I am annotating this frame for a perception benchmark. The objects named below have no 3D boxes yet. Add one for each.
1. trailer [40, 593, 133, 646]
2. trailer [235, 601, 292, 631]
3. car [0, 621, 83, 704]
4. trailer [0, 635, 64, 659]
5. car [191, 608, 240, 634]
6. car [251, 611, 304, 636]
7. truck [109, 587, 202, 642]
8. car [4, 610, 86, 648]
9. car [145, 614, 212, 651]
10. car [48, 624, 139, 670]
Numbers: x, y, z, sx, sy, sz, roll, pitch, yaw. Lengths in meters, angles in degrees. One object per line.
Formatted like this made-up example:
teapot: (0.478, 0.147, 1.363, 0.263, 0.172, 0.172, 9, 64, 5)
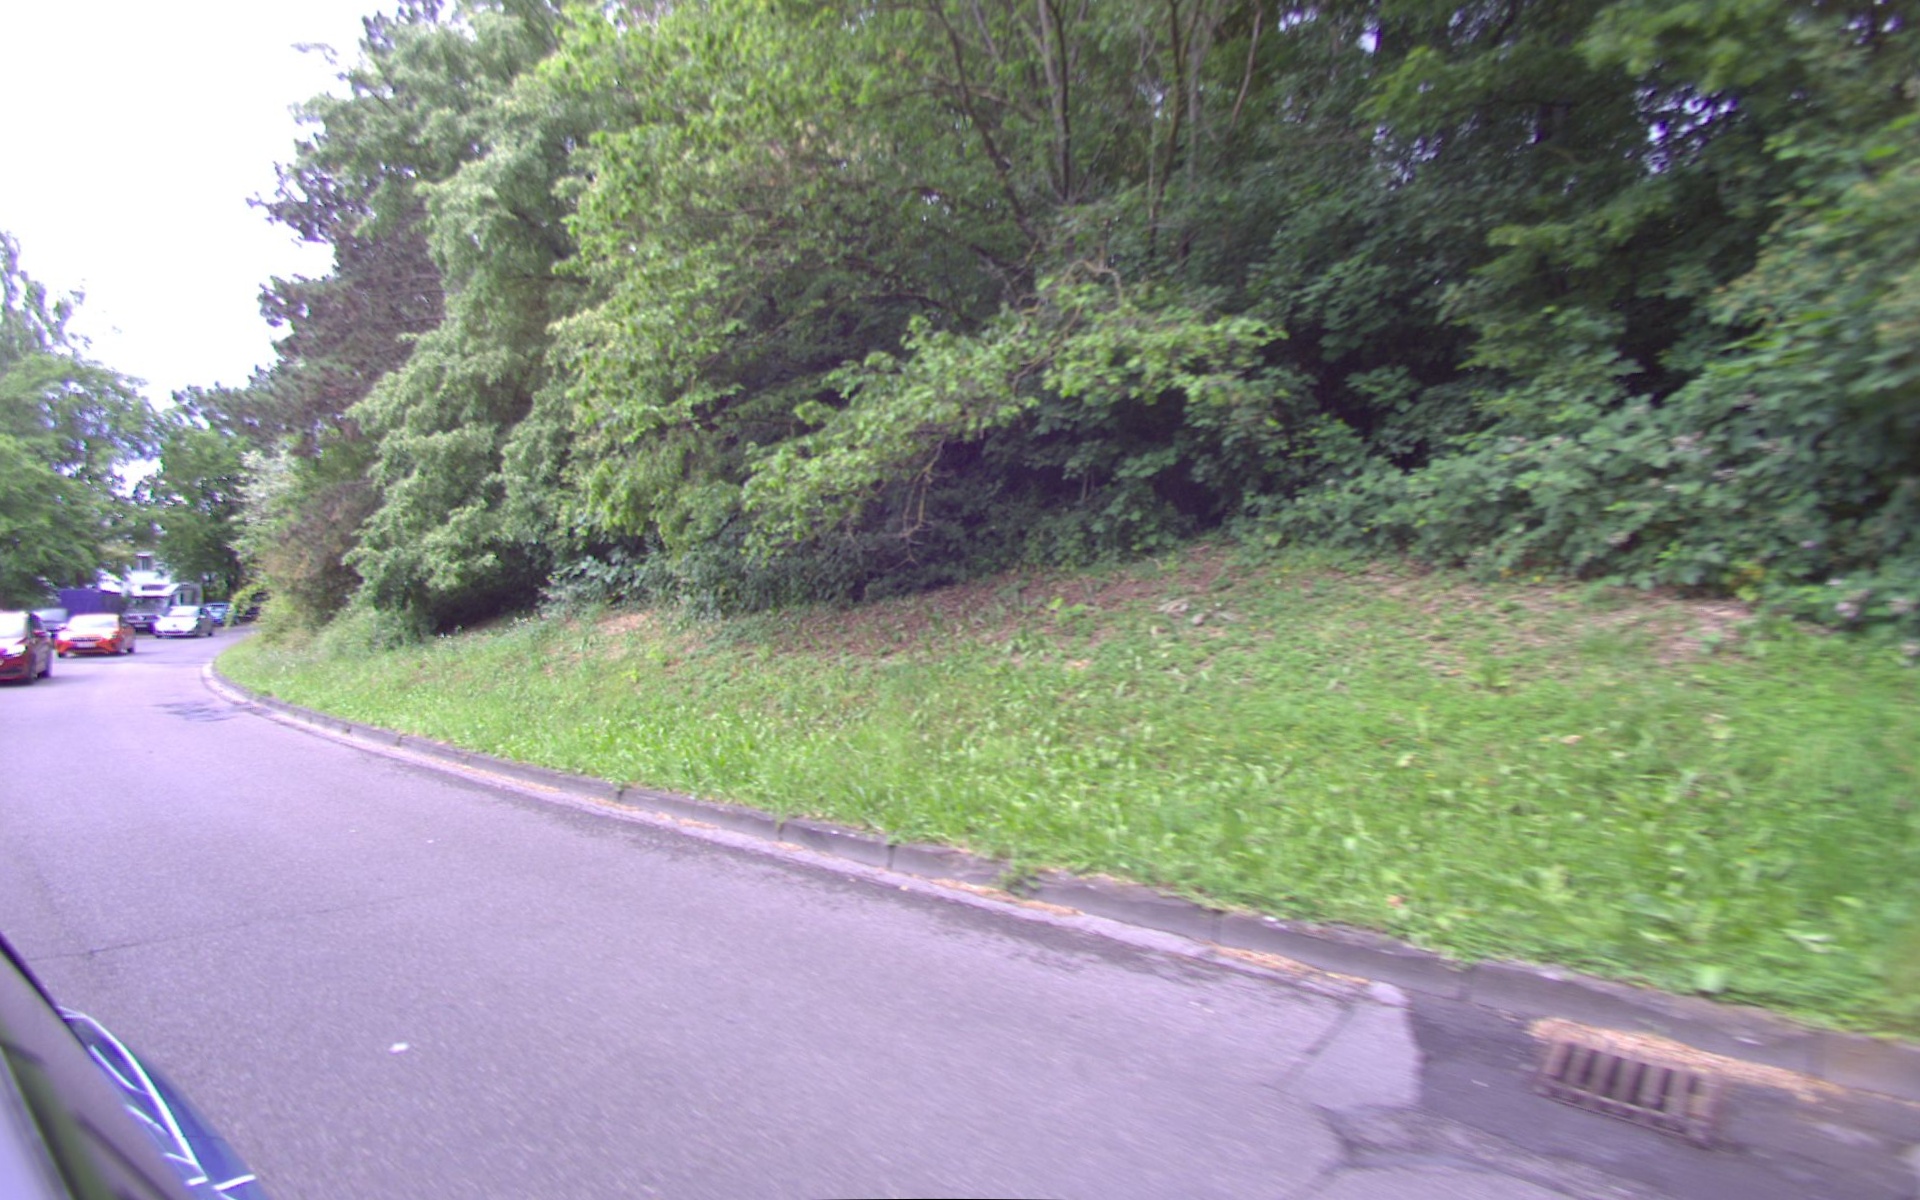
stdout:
trailer: (-41.076, 0.980, 47.737, 2.077, 2.380, 4.716, 1, -3, -25)
trailer: (-52.488, 1.174, 76.418, 1.966, 1.947, 5.913, -1, 2, -19)
car: (-22.001, 1.379, 23.004, 1.965, 1.640, 4.641, -1, 1, -26)
trailer: (-35.895, 1.772, 38.211, 2.075, 0.656, 6.420, -2, 1, -32)
car: (-49.672, 1.392, 67.585, 1.671, 1.559, 3.780, -1, 1, -20)
car: (-47.129, 1.619, 69.966, 1.739, 1.529, 4.012, -1, 1, -15)
truck: (-45.724, 0.787, 57.729, 2.271, 2.955, 7.056, 0, 0, -23)
car: (-39.076, 1.218, 43.302, 1.705, 1.534, 3.416, -1, -1, -27)
car: (-39.514, 1.606, 51.273, 1.891, 1.694, 4.013, 1, 0, -26)
car: (-30.245, 1.636, 35.443, 1.837, 1.460, 4.187, 0, -2, -33)
